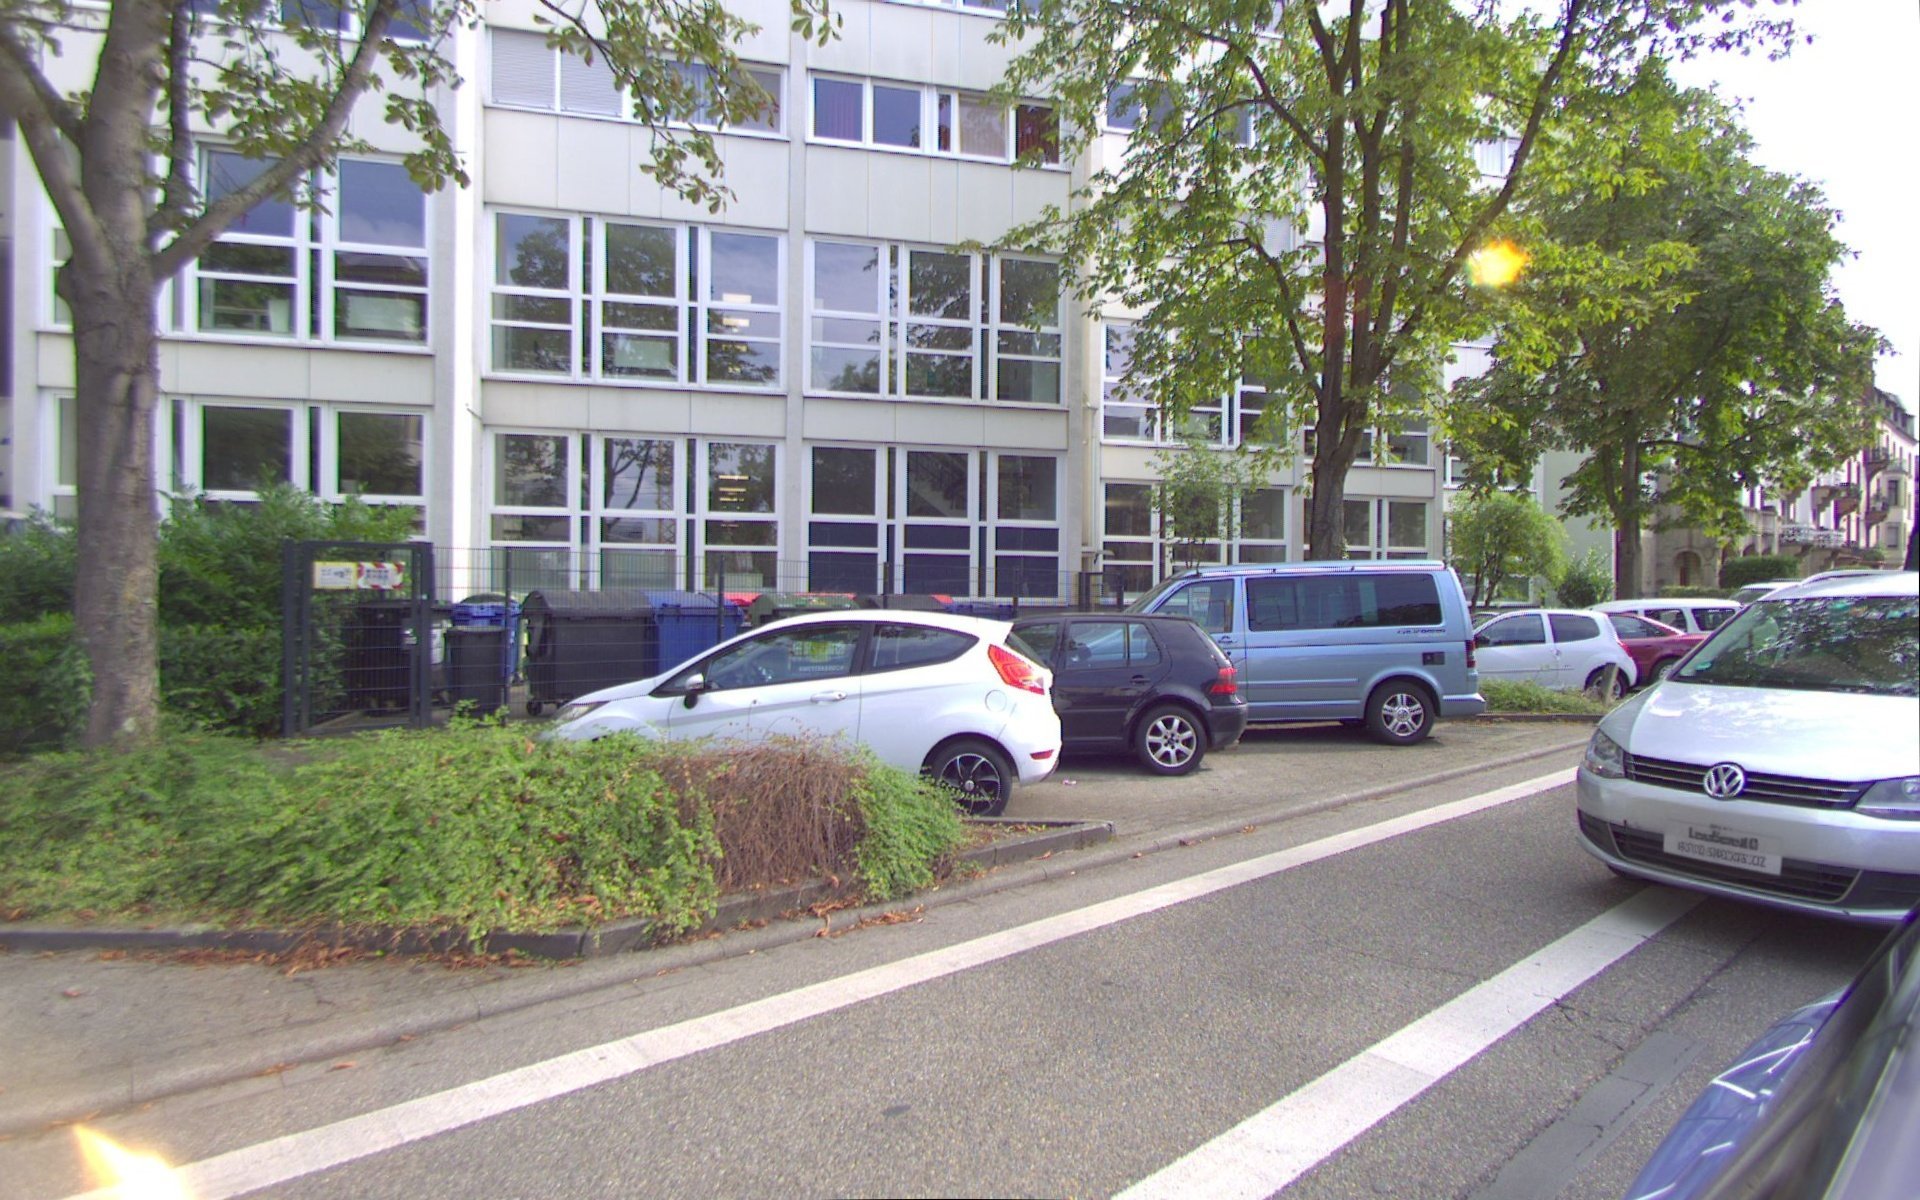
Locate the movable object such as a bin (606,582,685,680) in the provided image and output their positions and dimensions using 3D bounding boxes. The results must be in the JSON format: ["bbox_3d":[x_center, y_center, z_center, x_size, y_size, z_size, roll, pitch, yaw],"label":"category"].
[{"bbox_3d":[-5.278,0.504,17.081,1.150,1.588,1.182,0,0,-12],"label":"movable object such as a bin"}]

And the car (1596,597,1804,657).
[{"bbox_3d":[17.609,0.621,24.225,3.580,1.347,1.766,0,1,5],"label":"car"}]

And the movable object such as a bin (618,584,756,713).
[{"bbox_3d":[-3.487,0.566,12.905,1.312,1.523,1.335,0,0,-36],"label":"movable object such as a bin"}]

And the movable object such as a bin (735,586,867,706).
[{"bbox_3d":[-2.178,0.578,13.782,1.328,1.521,1.335,0,0,-36],"label":"movable object such as a bin"}]

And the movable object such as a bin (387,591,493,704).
[{"bbox_3d":[-6.814,0.591,13.326,1.095,1.409,1.065,0,0,-19],"label":"movable object such as a bin"}]

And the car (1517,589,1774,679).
[{"bbox_3d":[13.219,0.607,19.732,3.708,1.638,1.810,0,0,9],"label":"car"}]

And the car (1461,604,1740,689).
[{"bbox_3d":[11.097,0.767,17.797,3.708,1.355,1.810,0,1,9],"label":"car"}]

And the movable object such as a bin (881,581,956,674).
[{"bbox_3d":[-0.756,0.464,17.915,1.150,1.588,1.182,0,0,-12],"label":"movable object such as a bin"}]

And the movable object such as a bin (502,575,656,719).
[{"bbox_3d":[-4.479,0.503,11.880,1.389,1.549,1.330,0,0,-36],"label":"movable object such as a bin"}]

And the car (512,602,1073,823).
[{"bbox_3d":[-1.108,0.735,7.563,3.792,1.410,1.632,0,0,4],"label":"car"}]

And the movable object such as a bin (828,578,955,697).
[{"bbox_3d":[-1.003,0.507,14.635,1.328,1.616,1.335,0,0,-36],"label":"movable object such as a bin"}]

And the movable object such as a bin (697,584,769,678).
[{"bbox_3d":[-3.844,0.508,17.222,1.150,1.533,1.182,0,0,-12],"label":"movable object such as a bin"}]

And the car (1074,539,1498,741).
[{"bbox_3d":[3.511,0.402,11.655,4.268,2.090,1.998,0,0,5],"label":"car"}]

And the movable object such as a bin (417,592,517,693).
[{"bbox_3d":[-7.090,0.585,14.637,1.155,1.387,1.177,0,0,-19],"label":"movable object such as a bin"}]

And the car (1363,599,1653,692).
[{"bbox_3d":[8.457,0.664,15.898,3.580,1.347,1.766,0,1,5],"label":"car"}]

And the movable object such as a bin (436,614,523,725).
[{"bbox_3d":[-5.177,0.719,10.894,0.729,1.119,0.786,0,0,-34],"label":"movable object such as a bin"}]

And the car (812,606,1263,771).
[{"bbox_3d":[0.701,0.775,9.721,3.902,1.405,1.812,0,-1,5],"label":"car"}]

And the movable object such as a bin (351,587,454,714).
[{"bbox_3d":[-6.581,0.569,12.011,0.893,1.425,1.026,0,0,-19],"label":"movable object such as a bin"}]

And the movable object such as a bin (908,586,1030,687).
[{"bbox_3d":[0.124,0.530,15.670,1.374,1.477,1.335,0,0,-36],"label":"movable object such as a bin"}]

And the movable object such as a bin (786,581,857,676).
[{"bbox_3d":[-2.426,0.479,17.616,1.150,1.588,1.182,0,0,-12],"label":"movable object such as a bin"}]

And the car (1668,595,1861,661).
[{"bbox_3d":[20.957,0.675,26.555,3.605,1.609,1.753,0,1,24],"label":"car"}]

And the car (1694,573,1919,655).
[{"bbox_3d":[24.158,0.356,28.382,5.349,2.203,2.143,0,0,9],"label":"car"}]

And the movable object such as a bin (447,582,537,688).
[{"bbox_3d":[-7.362,0.527,15.988,1.155,1.588,1.177,0,0,-19],"label":"movable object such as a bin"}]

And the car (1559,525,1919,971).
[{"bbox_3d":[5.482,0.570,5.398,4.523,1.722,1.820,0,0,-27],"label":"car"}]
